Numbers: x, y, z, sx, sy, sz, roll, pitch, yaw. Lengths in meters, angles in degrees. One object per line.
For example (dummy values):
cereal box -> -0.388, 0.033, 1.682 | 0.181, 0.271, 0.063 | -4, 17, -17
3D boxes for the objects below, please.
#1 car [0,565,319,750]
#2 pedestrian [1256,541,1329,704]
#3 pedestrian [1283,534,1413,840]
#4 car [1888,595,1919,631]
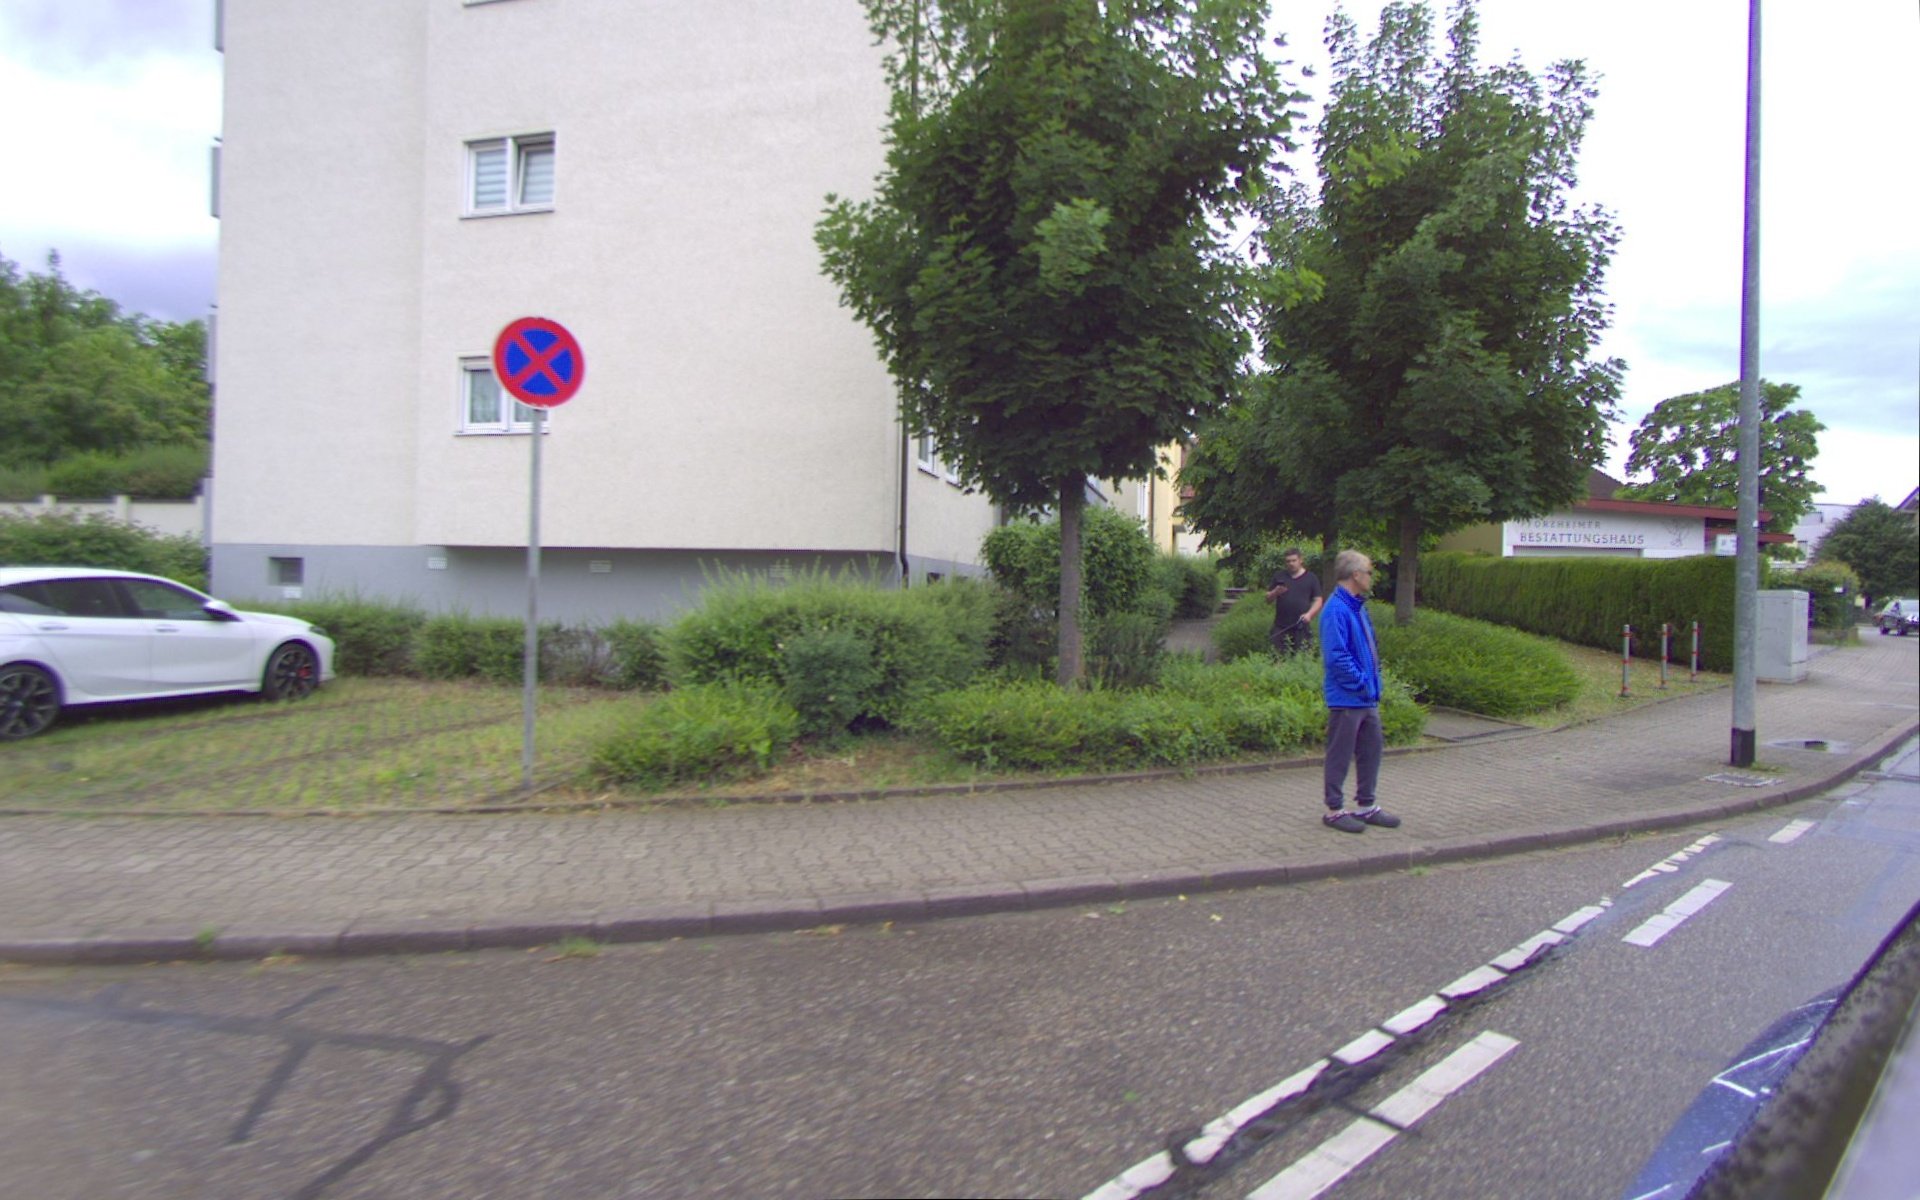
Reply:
car -> -8.471, 0.435, 9.764 | 1.720, 1.499, 3.755 | 2, 1, 12
pedestrian -> 3.811, 0.240, 11.583 | 0.612, 1.795, 0.662 | 0, 0, 37
pedestrian -> 2.341, 0.475, 6.076 | 0.587, 1.687, 0.766 | 0, 0, 33
car -> 43.687, 0.595, 45.536 | 1.824, 1.569, 3.962 | 1, 1, 27
